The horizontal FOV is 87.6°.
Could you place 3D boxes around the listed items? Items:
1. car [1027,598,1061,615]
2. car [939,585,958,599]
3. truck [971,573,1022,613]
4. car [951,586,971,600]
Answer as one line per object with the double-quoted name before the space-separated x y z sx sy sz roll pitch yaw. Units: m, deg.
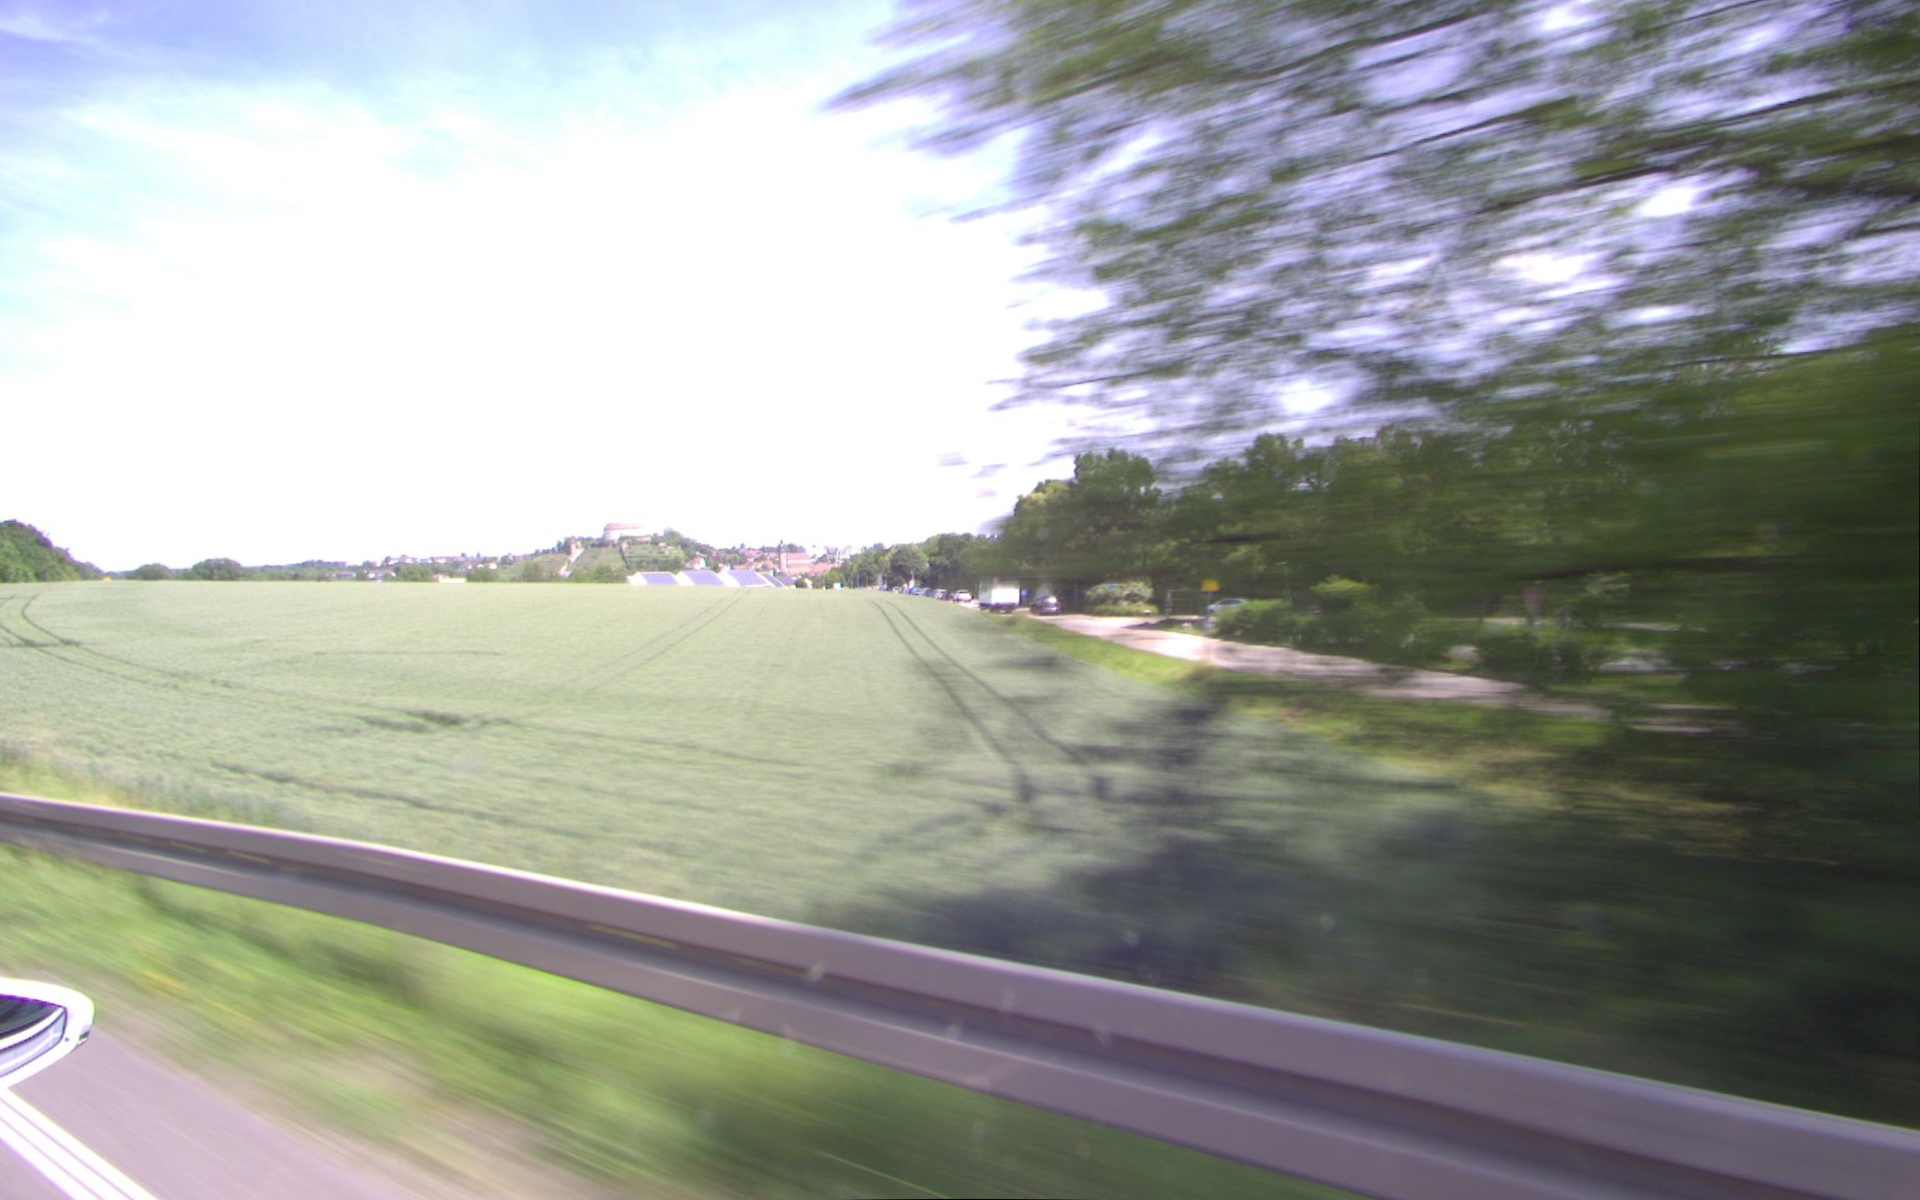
"car" 7.512 0.560 90.069 1.806 1.427 4.439 -2 1 -12
"car" -1.621 -1.104 140.235 1.962 1.834 4.385 0 1 -9
"truck" 3.399 -0.690 95.036 3.094 3.584 7.128 -2 2 -12
"car" 0.128 -0.906 129.098 1.962 1.833 4.386 0 0 -9
